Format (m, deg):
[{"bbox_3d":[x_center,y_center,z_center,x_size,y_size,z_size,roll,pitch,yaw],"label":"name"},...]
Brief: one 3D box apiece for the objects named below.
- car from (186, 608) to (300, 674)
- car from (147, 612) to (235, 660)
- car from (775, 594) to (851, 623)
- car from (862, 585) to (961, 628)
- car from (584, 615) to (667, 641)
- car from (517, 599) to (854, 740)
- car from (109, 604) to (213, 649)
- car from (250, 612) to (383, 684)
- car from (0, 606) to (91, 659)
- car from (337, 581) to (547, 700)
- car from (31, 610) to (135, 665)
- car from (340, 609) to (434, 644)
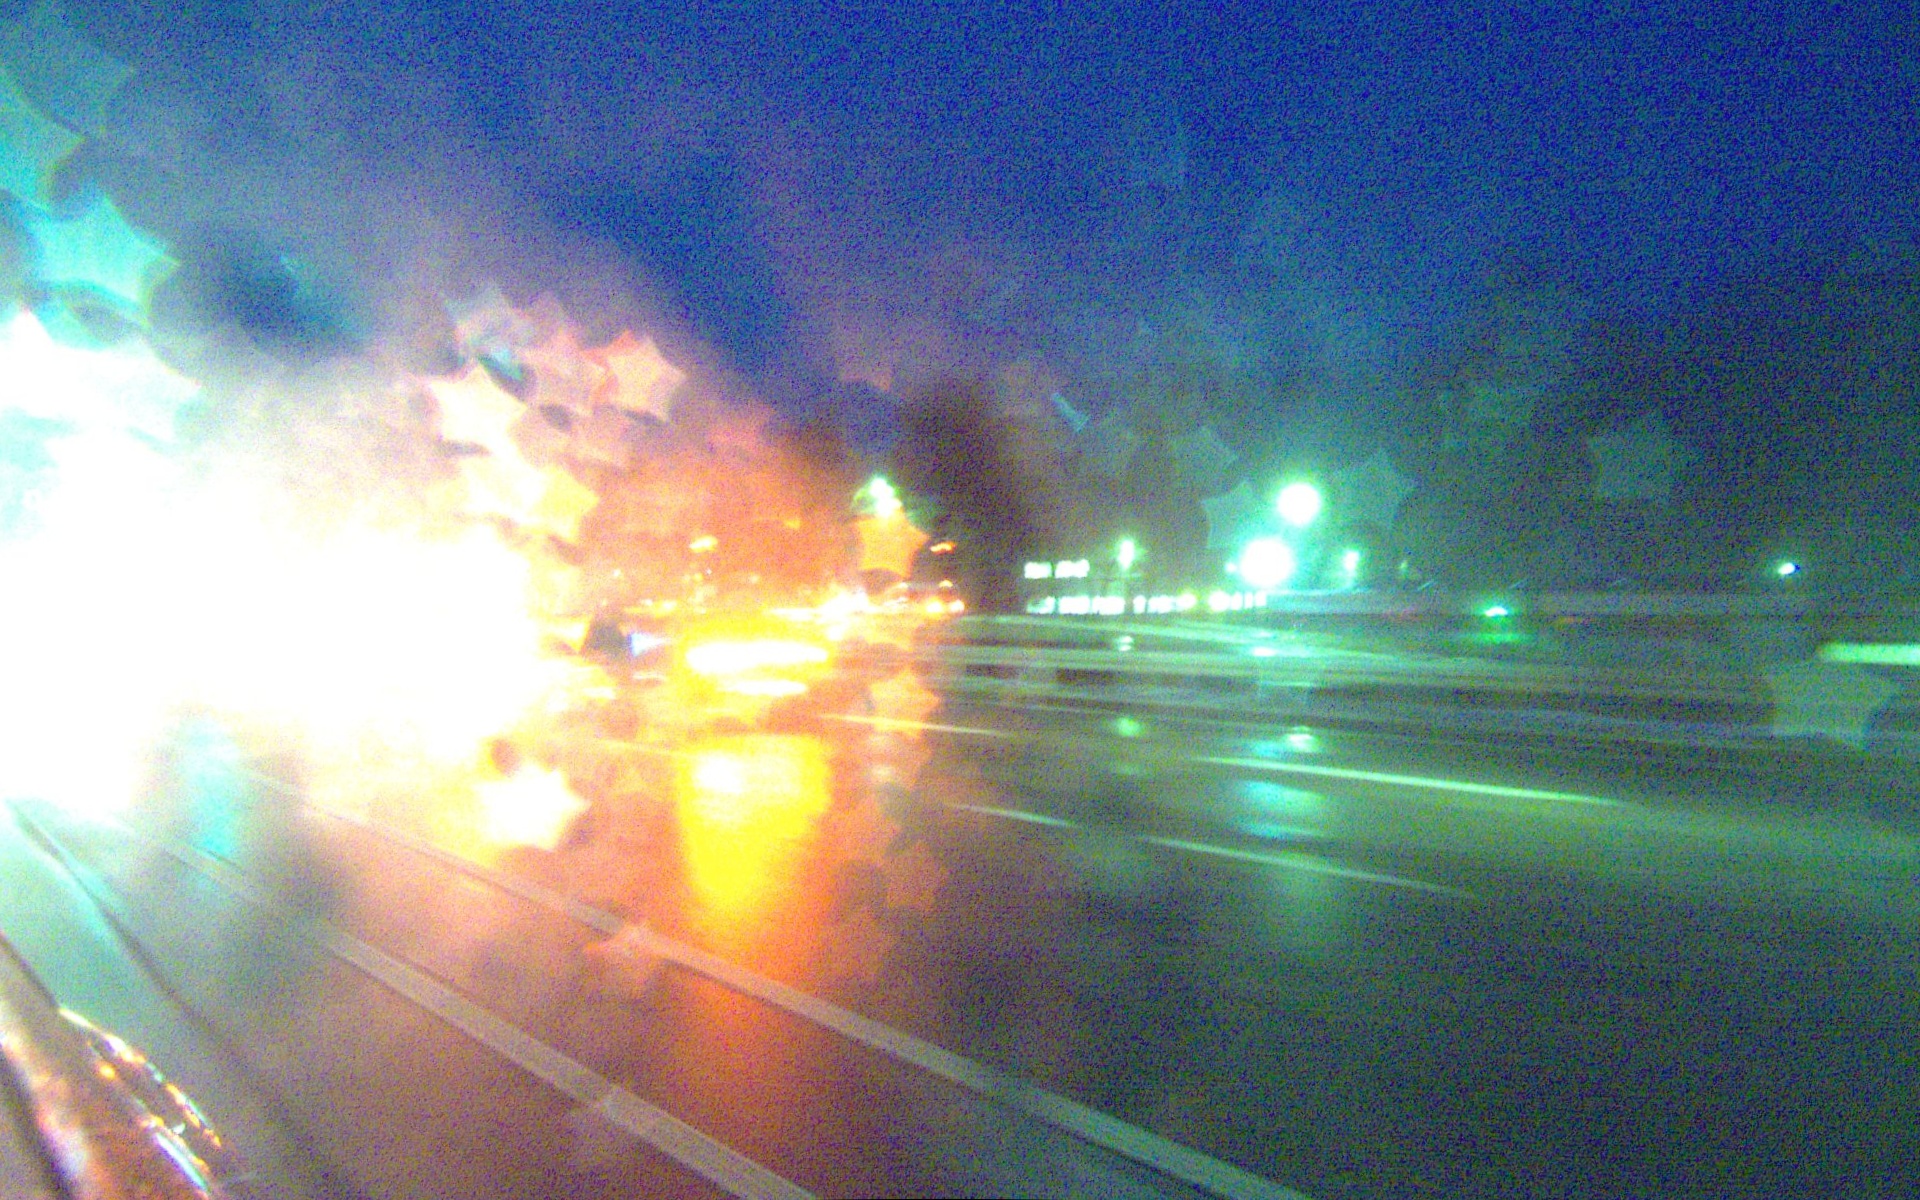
[{"bbox_3d":[-21.319,1.150,30.016,4.500,1.760,1.971,-1,0,44],"label":"car"},{"bbox_3d":[-26.189,1.182,34.434,3.602,1.463,1.803,0,1,43],"label":"car"},{"bbox_3d":[-9.035,0.537,61.935,4.431,1.706,1.833,-1,0,30],"label":"car"},{"bbox_3d":[-2.816,0.374,56.991,6.023,2.325,1.971,-1,0,44],"label":"car"},{"bbox_3d":[-19.555,1.622,59.367,4.432,1.375,1.670,-1,1,-9],"label":"car"},{"bbox_3d":[-3.938,0.805,13.869,5.206,1.570,2.157,-1,-1,45],"label":"car"},{"bbox_3d":[-30.948,0.993,39.138,5.158,1.568,2.334,-1,0,42],"label":"car"},{"bbox_3d":[-15.539,1.091,24.374,3.689,1.540,1.943,-1,0,45],"label":"car"},{"bbox_3d":[-32.987,1.092,36.400,5.011,1.711,1.973,0,1,42],"label":"car"},{"bbox_3d":[-10.260,0.710,19.861,4.996,2.029,2.130,-1,0,44],"label":"car"},{"bbox_3d":[-28.166,1.143,32.461,4.465,1.582,1.936,0,1,42],"label":"car"},{"bbox_3d":[-31.704,1.451,56.075,4.447,1.858,2.006,0,-1,-30],"label":"car"}]
